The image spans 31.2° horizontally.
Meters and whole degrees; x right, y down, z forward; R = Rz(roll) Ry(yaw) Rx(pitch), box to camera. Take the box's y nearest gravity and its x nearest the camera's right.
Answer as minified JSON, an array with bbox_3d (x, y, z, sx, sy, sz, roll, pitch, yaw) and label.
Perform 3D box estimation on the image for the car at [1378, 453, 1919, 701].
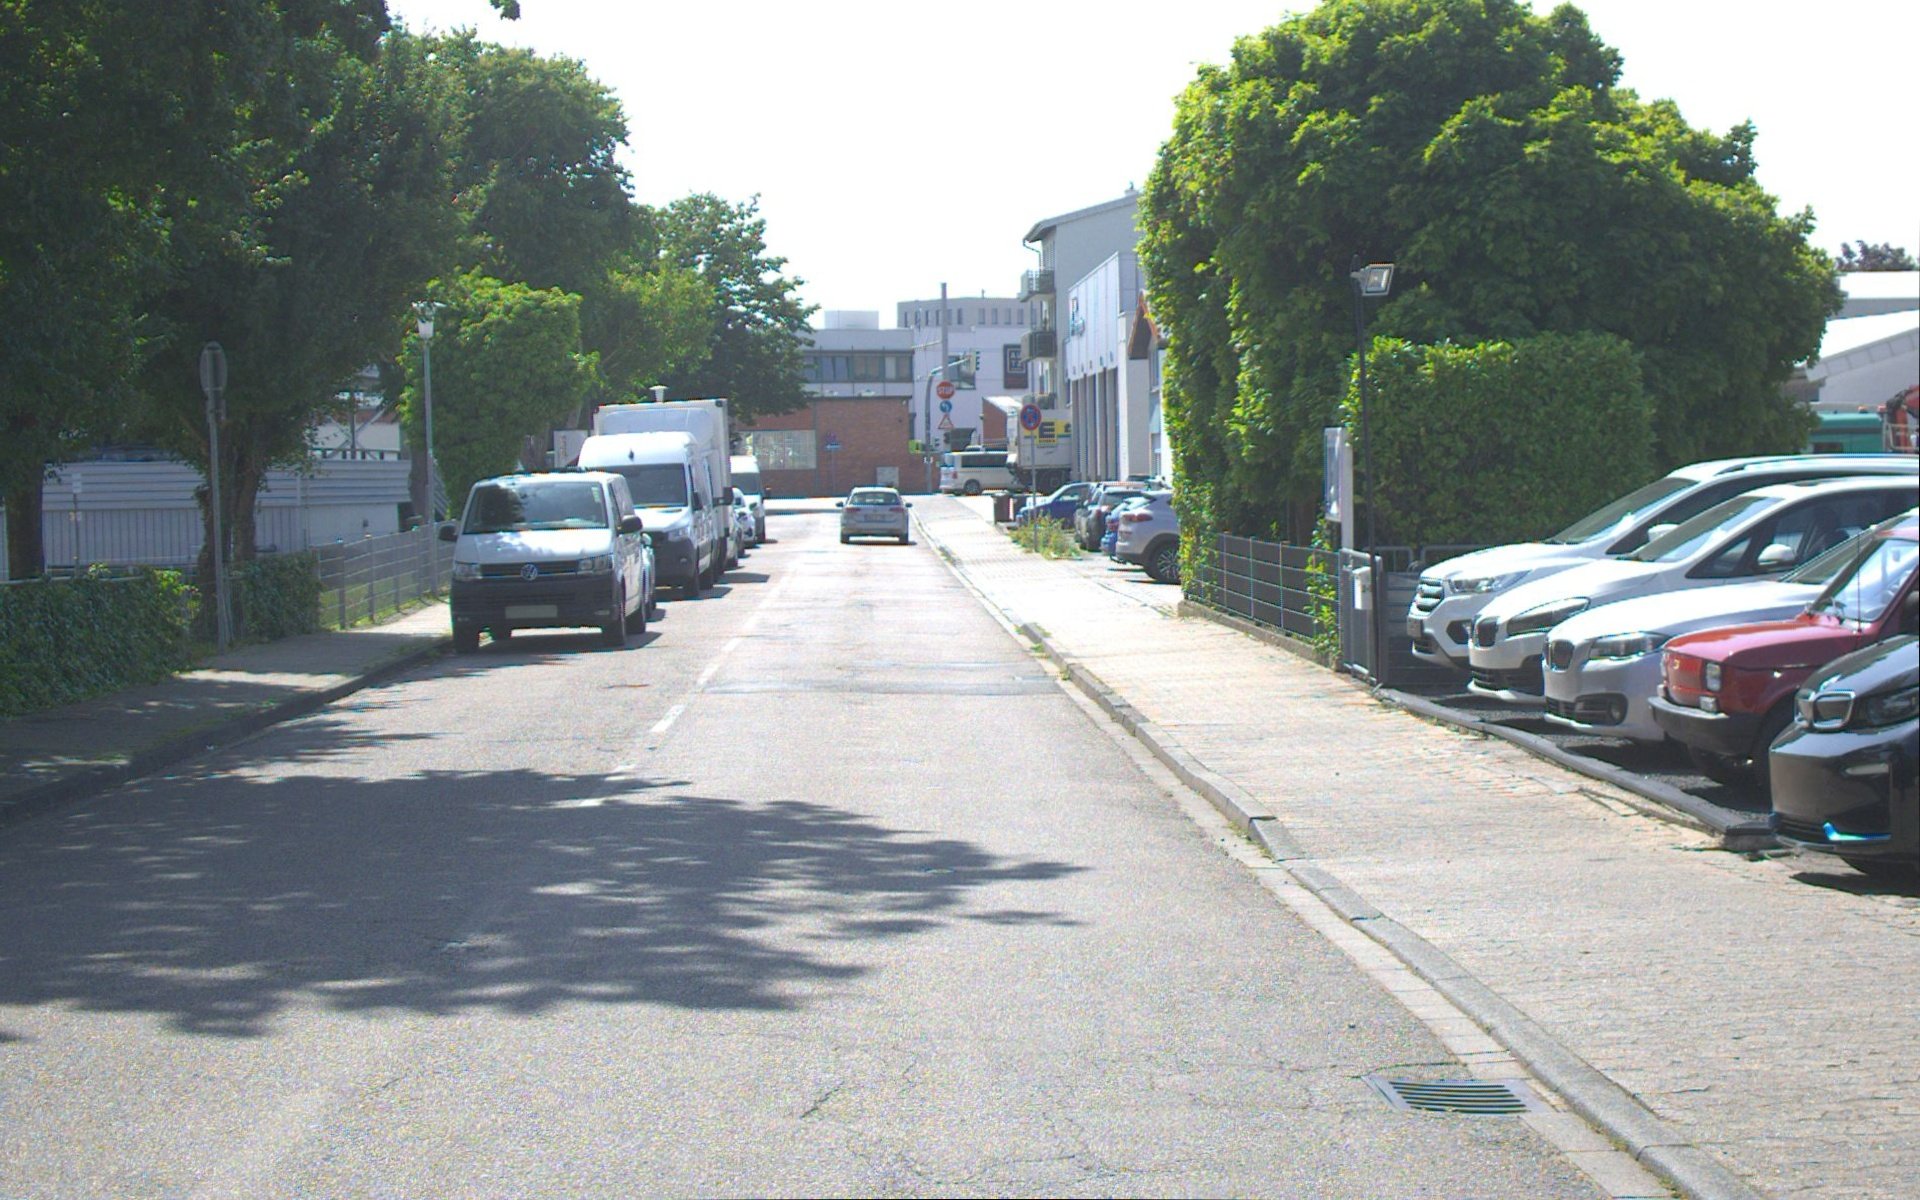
[{"bbox_3d":[5.362,-0.201,24.679,4.402,1.648,1.844,-1,2,-4],"label":"car"}]

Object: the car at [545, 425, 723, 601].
[{"bbox_3d":[-5.192,-1.418,55.641,2.168,2.587,6.921,-2,2,0],"label":"car"}]

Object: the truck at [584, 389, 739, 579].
[{"bbox_3d":[-5.656,-2.187,65.512,2.685,3.354,7.131,-2,2,-4],"label":"truck"}]

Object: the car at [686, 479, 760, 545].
[{"bbox_3d":[-6.177,-2.309,89.348,1.704,1.618,3.975,-3,2,-6],"label":"car"}]

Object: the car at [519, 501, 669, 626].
[{"bbox_3d":[-4.943,-0.535,46.850,1.714,1.538,4.402,-3,2,-3],"label":"car"}]

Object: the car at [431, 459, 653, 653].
[{"bbox_3d":[-4.737,-0.550,39.674,1.971,2.006,5.057,-3,2,-1],"label":"car"}]

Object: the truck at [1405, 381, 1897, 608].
[{"bbox_3d":[11.402,-1.760,57.205,7.517,3.411,2.527,2,2,-1],"label":"truck"}]

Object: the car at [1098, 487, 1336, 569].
[{"bbox_3d":[4.898,-1.396,65.937,4.352,1.436,1.892,-1,2,-2],"label":"car"}]

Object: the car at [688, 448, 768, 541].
[{"bbox_3d":[-6.358,-2.923,94.504,2.005,2.358,5.231,-4,3,-3],"label":"car"}]

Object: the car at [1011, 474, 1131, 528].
[{"bbox_3d":[3.094,-2.786,96.442,3.253,1.394,1.673,-1,2,-1],"label":"car"}]

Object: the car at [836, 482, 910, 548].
[{"bbox_3d":[-2.331,-2.280,91.729,1.890,1.679,3.958,-1,2,-2],"label":"car"}]

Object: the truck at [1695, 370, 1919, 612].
[{"bbox_3d":[15.788,-1.710,53.016,8.276,3.598,2.953,-1,2,1],"label":"truck"}]

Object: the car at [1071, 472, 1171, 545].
[{"bbox_3d":[3.687,-2.131,79.301,1.858,1.562,4.952,-1,3,-2],"label":"car"}]

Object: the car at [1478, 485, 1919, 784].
[{"bbox_3d":[5.384,0.101,19.568,4.402,1.492,1.898,-3,1,-7],"label":"car"}]

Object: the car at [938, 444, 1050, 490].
[{"bbox_3d":[1.547,-6.025,155.788,4.653,1.951,1.917,-2,3,-20],"label":"car"}]

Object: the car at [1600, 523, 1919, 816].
[{"bbox_3d":[5.138,0.278,17.082,3.549,1.330,1.559,-2,1,-3],"label":"car"}]

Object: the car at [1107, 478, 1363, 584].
[{"bbox_3d":[4.753,-1.214,59.809,4.200,1.676,1.767,2,2,-2],"label":"car"}]

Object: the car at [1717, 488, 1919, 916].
[{"bbox_3d":[5.229,0.322,14.068,3.802,1.618,1.760,-2,2,-3],"label":"car"}]

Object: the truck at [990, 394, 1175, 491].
[{"bbox_3d":[5.243,-6.772,147.589,7.357,3.632,2.769,-4,3,-7],"label":"truck"}]

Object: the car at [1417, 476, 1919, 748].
[{"bbox_3d":[5.378,0.008,22.247,4.402,1.522,1.898,-3,1,-7],"label":"car"}]
